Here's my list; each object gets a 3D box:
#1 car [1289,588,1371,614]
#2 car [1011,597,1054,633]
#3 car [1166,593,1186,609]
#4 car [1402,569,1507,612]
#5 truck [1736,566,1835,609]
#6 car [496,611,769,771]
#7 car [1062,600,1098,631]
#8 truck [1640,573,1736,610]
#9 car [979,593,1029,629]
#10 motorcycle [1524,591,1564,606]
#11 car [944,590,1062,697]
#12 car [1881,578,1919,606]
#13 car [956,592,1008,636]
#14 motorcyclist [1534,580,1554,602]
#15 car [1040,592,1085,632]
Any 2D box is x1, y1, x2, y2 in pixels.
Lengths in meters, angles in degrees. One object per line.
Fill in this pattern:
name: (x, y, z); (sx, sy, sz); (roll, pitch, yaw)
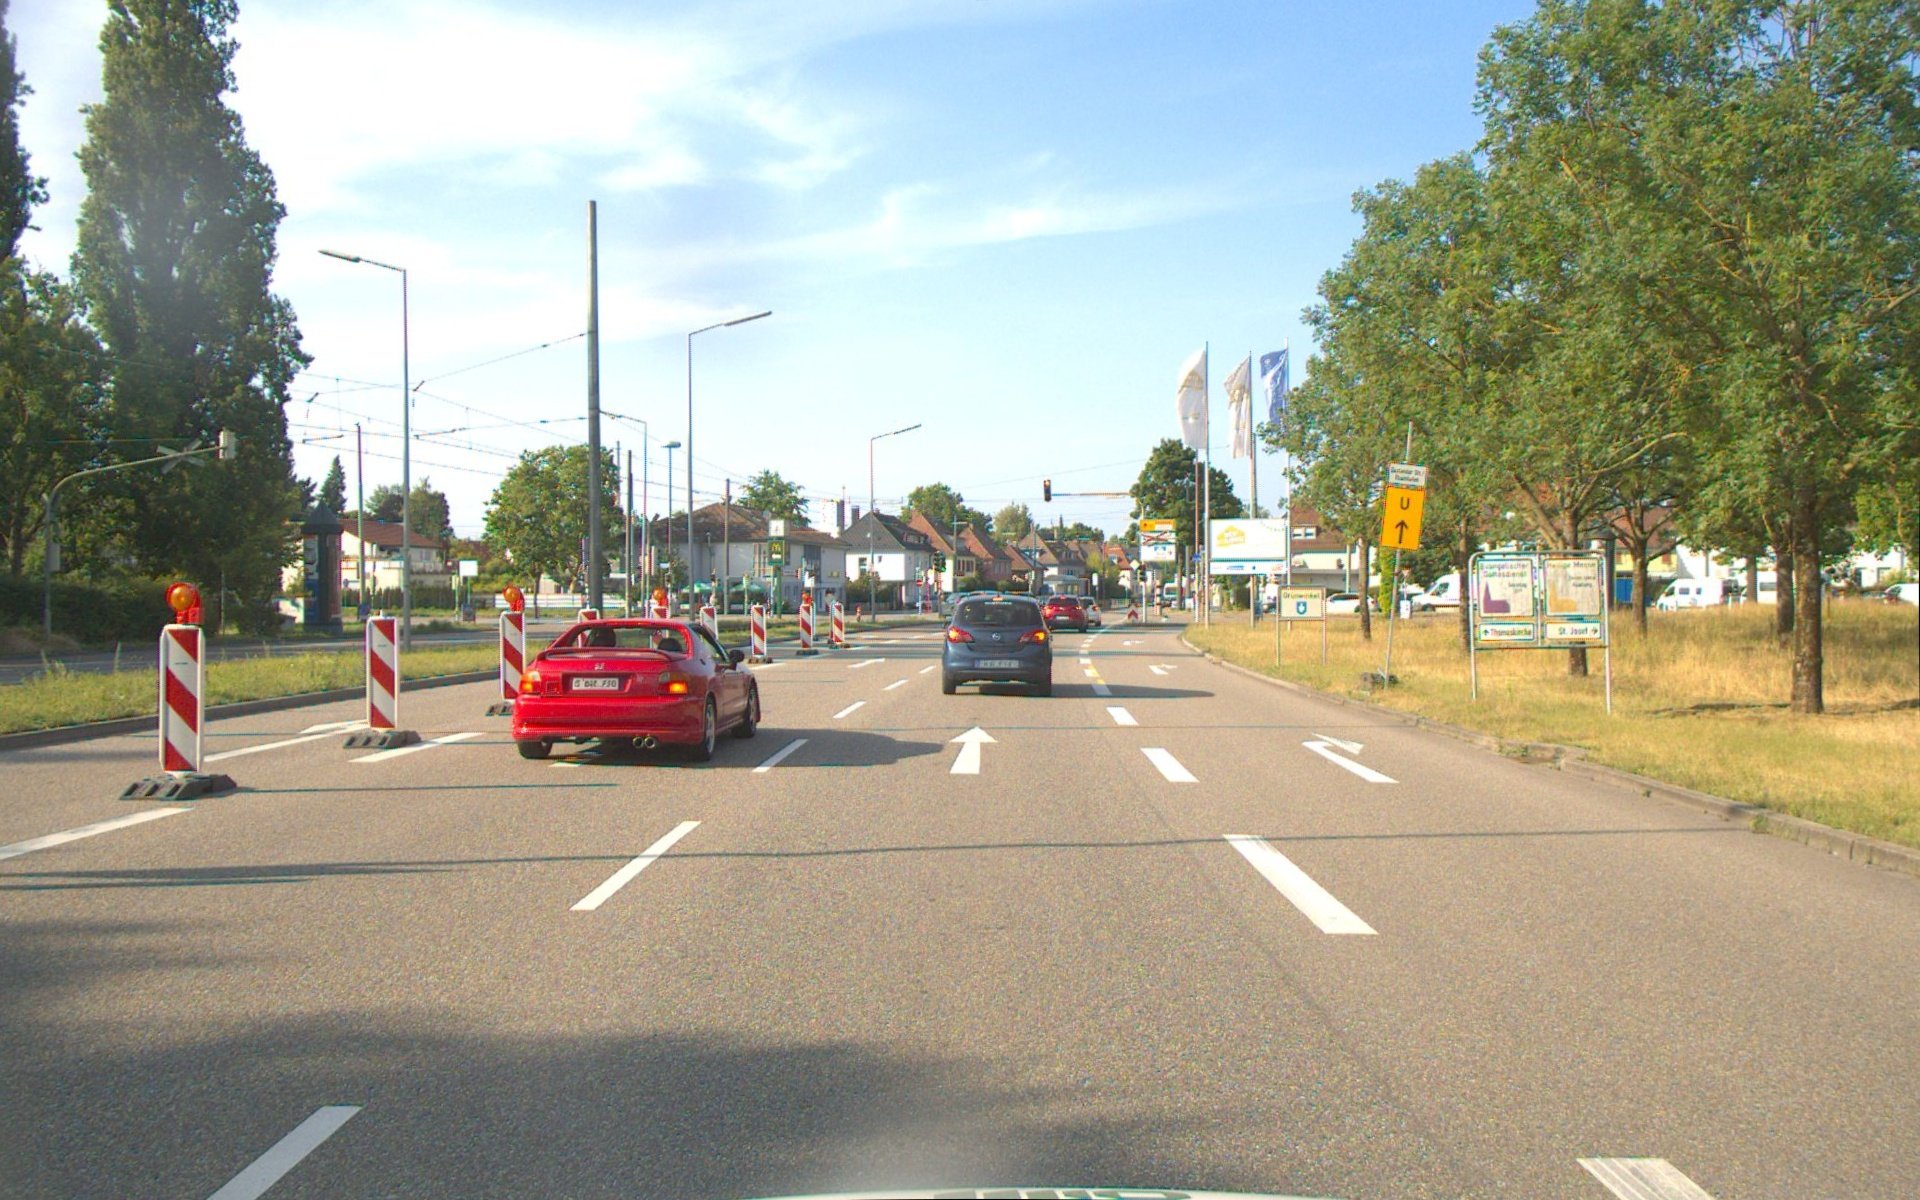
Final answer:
car: (23.502, 0.039, 105.280); (4.986, 1.590, 1.841); (-1, 0, 9)
car: (3.644, 0.720, 82.466); (1.474, 1.680, 4.748); (0, 0, 11)
car: (20.196, 0.104, 154.550); (1.639, 1.422, 4.003); (1, 0, 9)
car: (31.097, -0.569, 104.152); (6.075, 2.629, 2.002); (0, 0, 9)
truck: (57.832, -0.875, 115.973); (1.876, 2.904, 5.998); (0, 0, -37)
car: (-2.942, 0.769, 15.634); (1.695, 1.227, 3.848); (1, 0, 1)
car: (5.954, 0.756, 81.885); (1.621, 1.468, 4.017); (-1, 0, 6)
truck: (51.474, -0.621, 117.034); (2.242, 2.568, 6.305); (-1, 1, -26)
car: (2.043, 0.477, 75.133); (1.663, 1.534, 4.557); (0, 0, 9)
motorcycle: (36.217, -0.093, 102.554); (2.222, 0.882, 0.691); (0, 0, 8)
car: (0.628, 0.626, 26.237); (1.706, 1.532, 4.222); (0, 0, 0)
car: (66.886, -0.579, 115.712); (1.876, 1.953, 3.858); (0, 0, -37)
car: (0.912, 0.545, 66.665); (1.726, 1.700, 4.087); (0, 0, 6)
motorcyclist: (36.209, -0.561, 102.563); (1.043, 1.375, 0.680); (0, 0, 8)
car: (4.250, 0.477, 68.344); (1.670, 1.579, 3.980); (-1, 0, 6)
